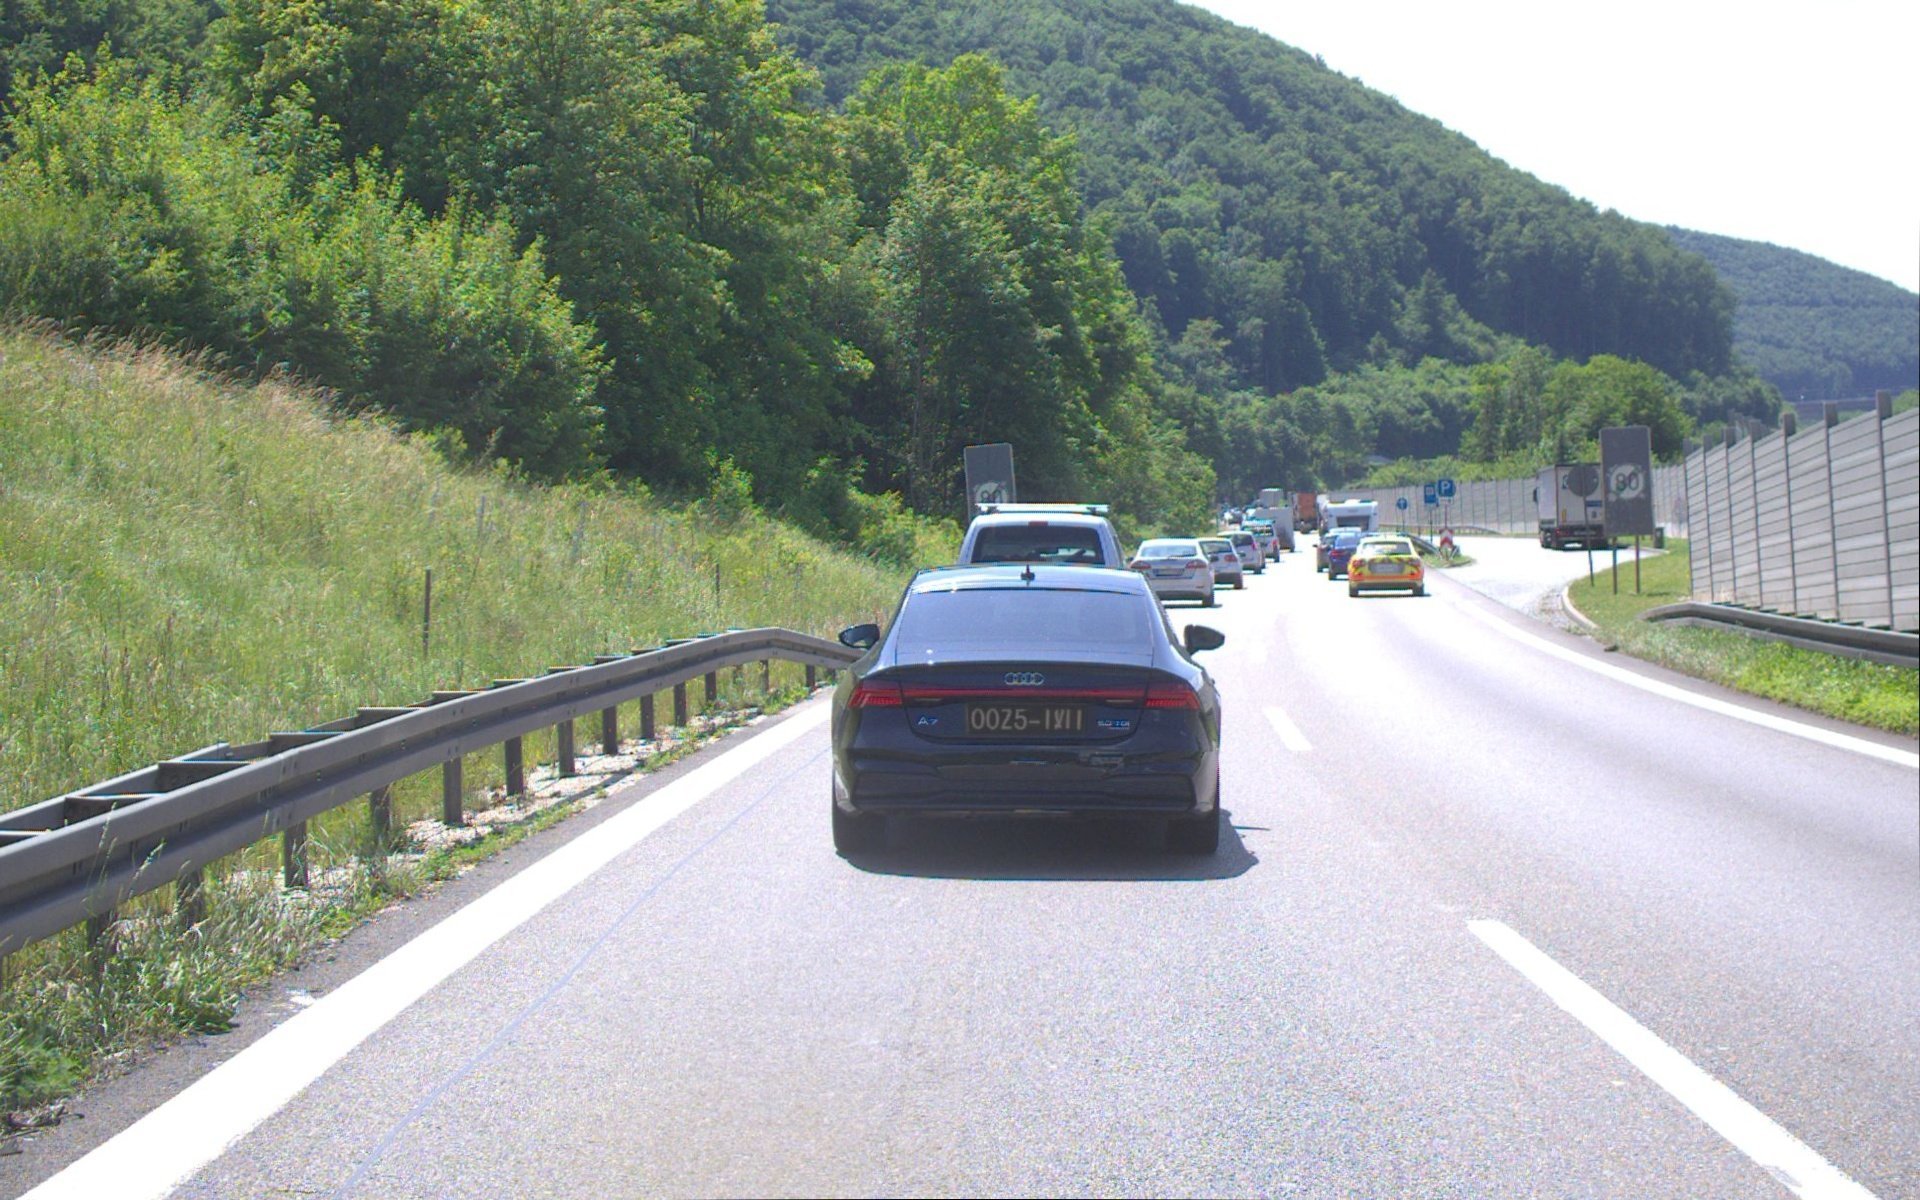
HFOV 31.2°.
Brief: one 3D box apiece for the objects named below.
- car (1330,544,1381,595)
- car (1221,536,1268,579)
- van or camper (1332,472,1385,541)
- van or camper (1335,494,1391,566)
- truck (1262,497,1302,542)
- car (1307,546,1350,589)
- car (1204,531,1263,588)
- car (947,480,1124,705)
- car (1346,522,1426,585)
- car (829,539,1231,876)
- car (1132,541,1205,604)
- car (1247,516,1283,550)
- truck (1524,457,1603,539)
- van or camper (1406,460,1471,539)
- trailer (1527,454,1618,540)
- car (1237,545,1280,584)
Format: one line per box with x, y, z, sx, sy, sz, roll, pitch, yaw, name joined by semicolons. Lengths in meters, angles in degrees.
12.256;-0.948;106.593;1.530;1.520;3.596;1;1;6;car
10.585;-1.575;127.679;1.521;1.547;3.513;2;1;8;car
23.238;-5.421;200.844;2.795;3.894;6.166;1;1;4;van or camper
18.138;-3.110;154.854;2.430;3.144;5.202;1;1;6;van or camper
19.367;-4.795;206.725;2.065;2.596;5.612;2;1;8;truck
13.673;-1.202;127.473;1.530;1.520;3.596;1;1;6;car
7.817;-1.169;98.078;1.521;1.547;3.513;2;1;7;car
0.715;-0.094;32.379;1.521;1.961;3.514;2;1;1;car
10.410;-1.143;84.150;1.879;1.493;3.999;0;1;7;car
0.281;0.460;17.394;1.812;1.509;3.515;1;1;-1;car
4.545;-0.611;74.836;1.521;1.290;3.514;2;1;4;car
14.476;-3.151;163.102;1.521;1.547;3.513;2;1;8;car
29.451;-4.974;168.027;3.412;3.887;5.386;0;1;6;truck
23.980;-5.004;172.490;2.795;3.828;6.166;1;1;4;van or camper
28.865;-4.823;162.456;3.412;3.887;11.149;0;1;6;trailer
12.499;-1.481;143.791;1.521;1.547;3.513;2;1;9;car
